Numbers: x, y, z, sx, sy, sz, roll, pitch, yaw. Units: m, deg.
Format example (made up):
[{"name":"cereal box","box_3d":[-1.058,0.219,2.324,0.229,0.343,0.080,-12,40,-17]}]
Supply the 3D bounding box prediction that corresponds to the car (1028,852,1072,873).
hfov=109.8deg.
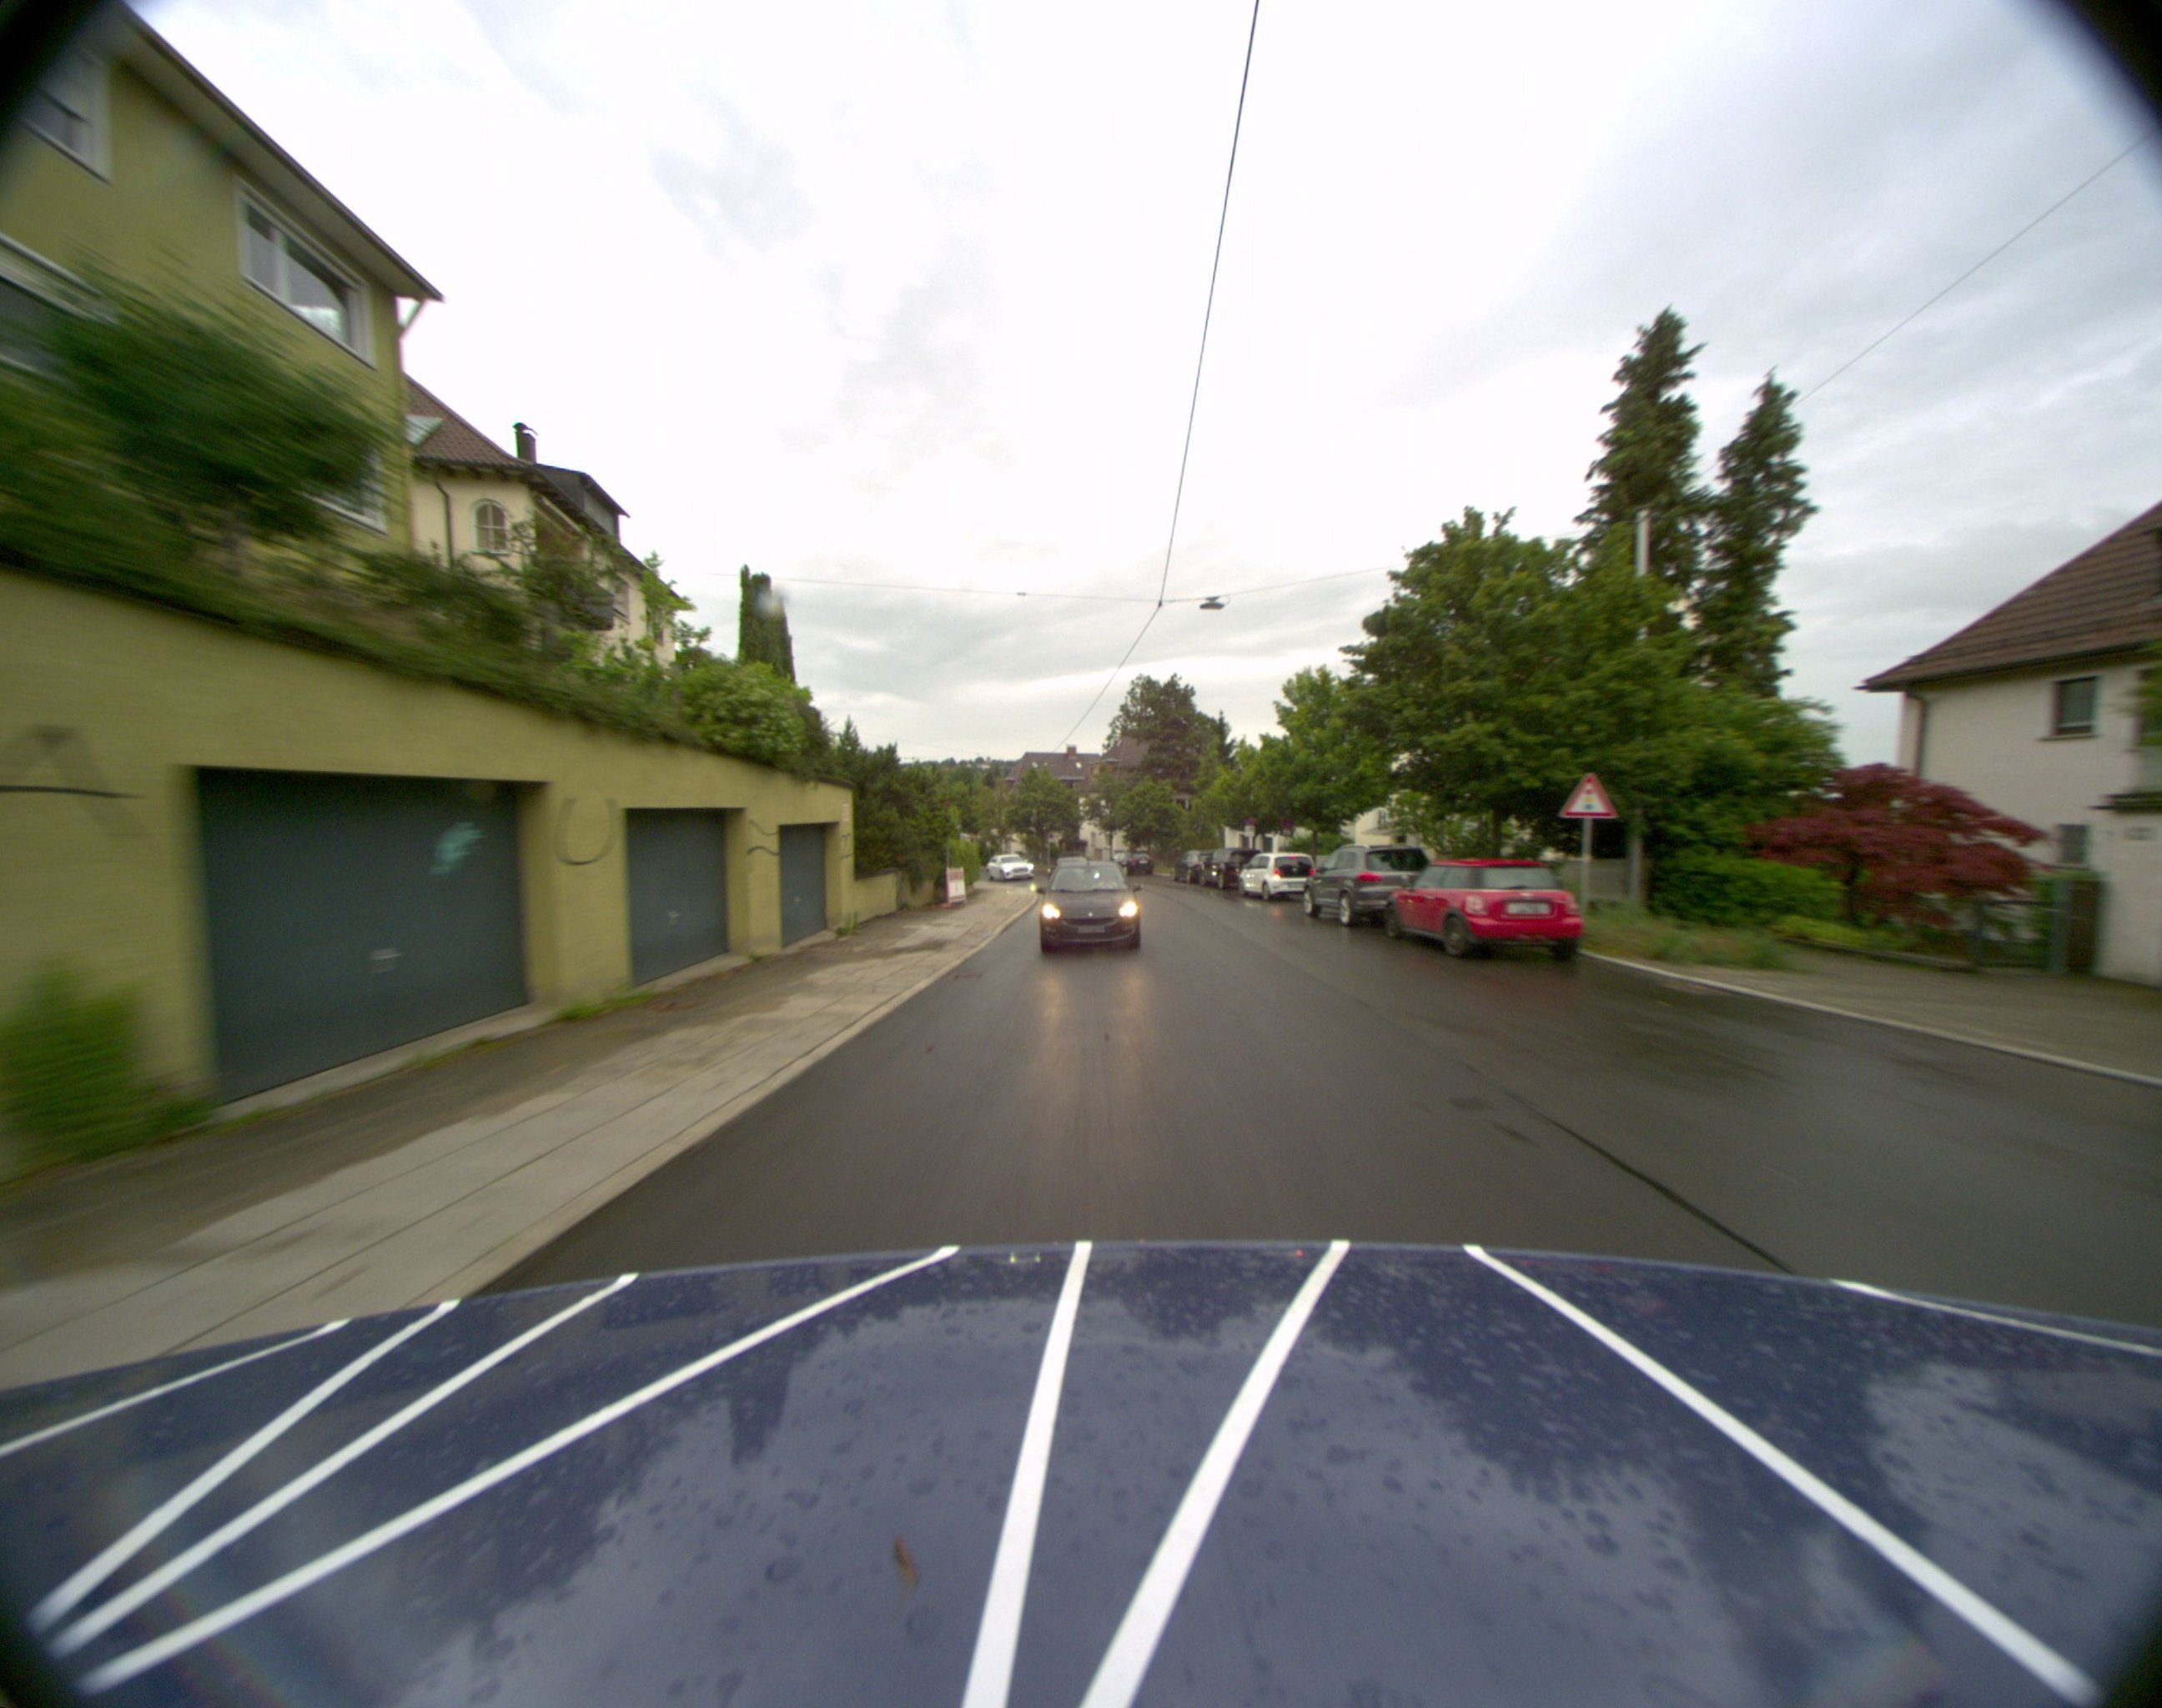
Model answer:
[{"name":"car","box_3d":[-3.141,0.856,77.715,4.004,1.575,1.852,9,-2,-16]}]

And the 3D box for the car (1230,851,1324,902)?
[{"name":"car","box_3d":[6.276,0.677,24.809,1.738,1.458,3.998,-2,0,-4]}]

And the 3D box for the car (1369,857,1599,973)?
[{"name":"car","box_3d":[6.072,0.819,12.005,1.686,1.463,3.865,0,1,2]}]

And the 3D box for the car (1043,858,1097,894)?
[{"name":"car","box_3d":[-0.567,0.952,34.422,1.844,1.395,4.067,-1,1,-9]}]

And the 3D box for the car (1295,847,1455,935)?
[{"name":"car","box_3d":[6.192,0.685,16.614,1.805,1.659,4.425,0,1,0]}]

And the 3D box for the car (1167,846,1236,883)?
[{"name":"car","box_3d":[5.543,0.434,35.530,1.872,1.536,4.901,-2,1,-7]}]

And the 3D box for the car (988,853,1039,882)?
[{"name":"car","box_3d":[-4.392,0.813,48.789,2.003,1.699,4.565,-2,1,-22]}]

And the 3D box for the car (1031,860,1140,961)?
[{"name":"car","box_3d":[0.137,0.902,14.207,1.674,1.457,4.715,-1,1,2]}]

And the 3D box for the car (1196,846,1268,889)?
[{"name":"car","box_3d":[5.978,0.485,30.605,1.738,1.536,4.207,-2,1,-4]}]

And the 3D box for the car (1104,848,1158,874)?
[{"name":"car","box_3d":[3.022,0.400,46.757,1.677,1.457,3.887,-2,1,-24]}]
